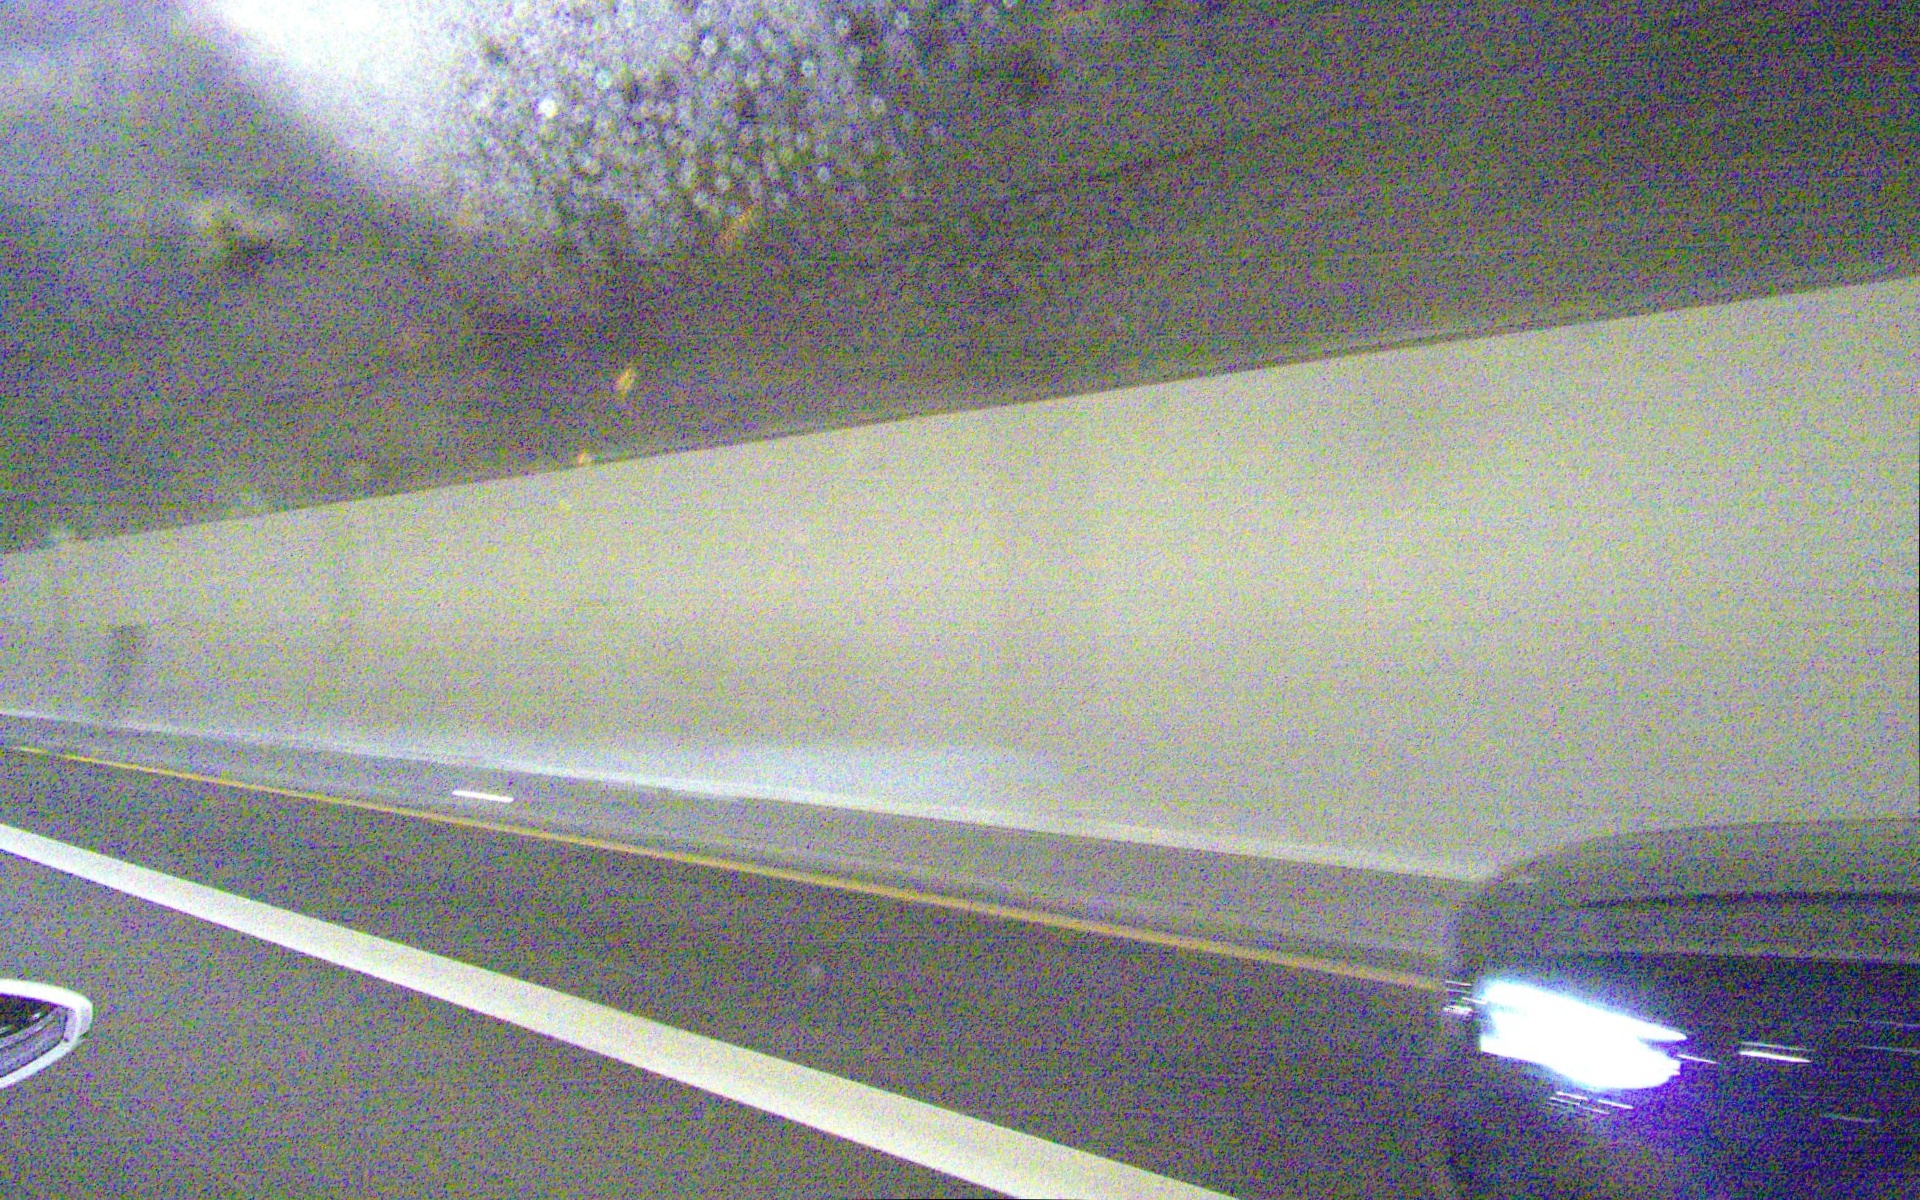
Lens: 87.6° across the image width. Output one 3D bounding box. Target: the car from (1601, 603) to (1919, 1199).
[{"bbox_3d":[3.623,0.748,1.113,4.885,1.491,1.922,-1,-2,33],"label":"car"}]
